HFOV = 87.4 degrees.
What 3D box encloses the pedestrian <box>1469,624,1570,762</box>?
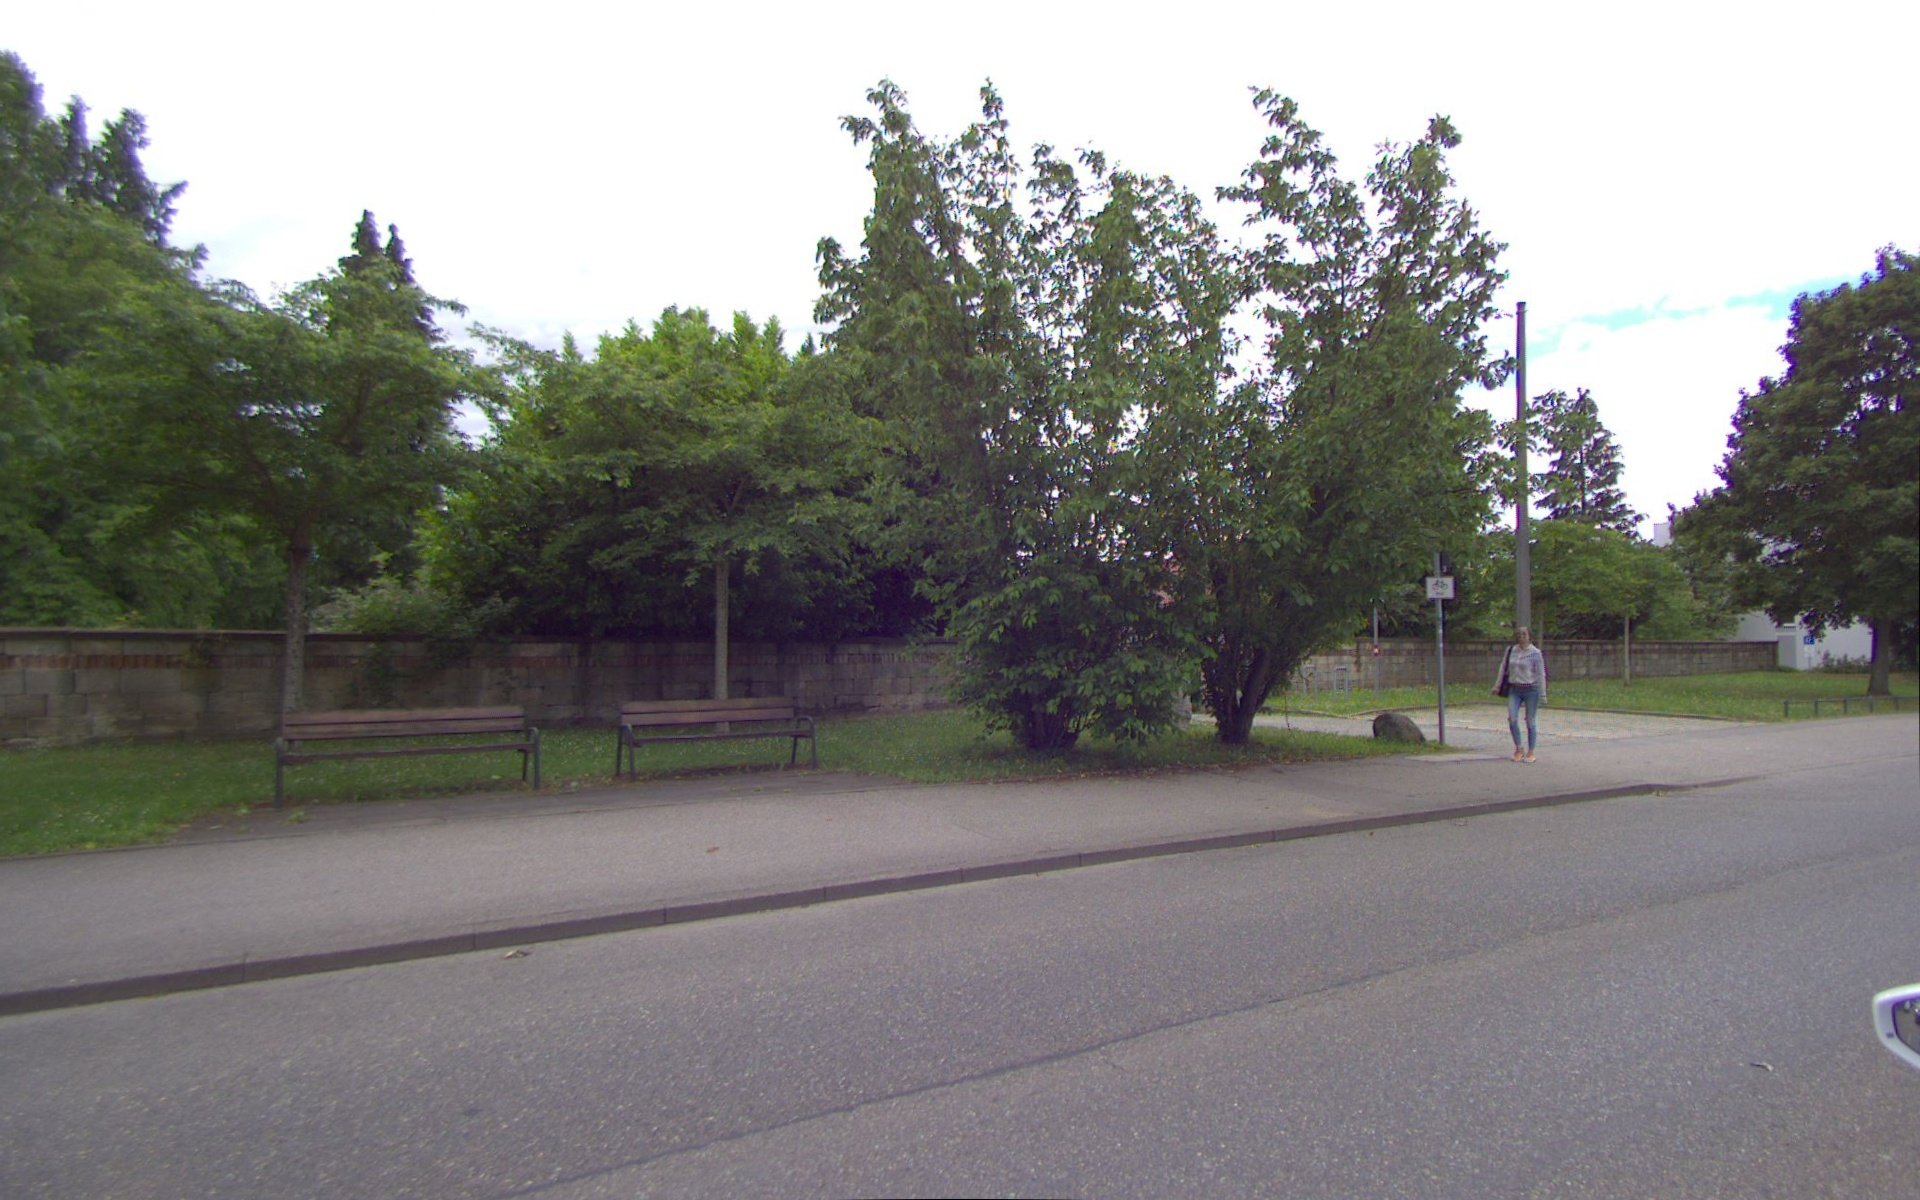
[{"bbox_3d":[7.505,1.226,13.506,0.889,1.771,0.767,1,-1,-13],"label":"pedestrian"}]
